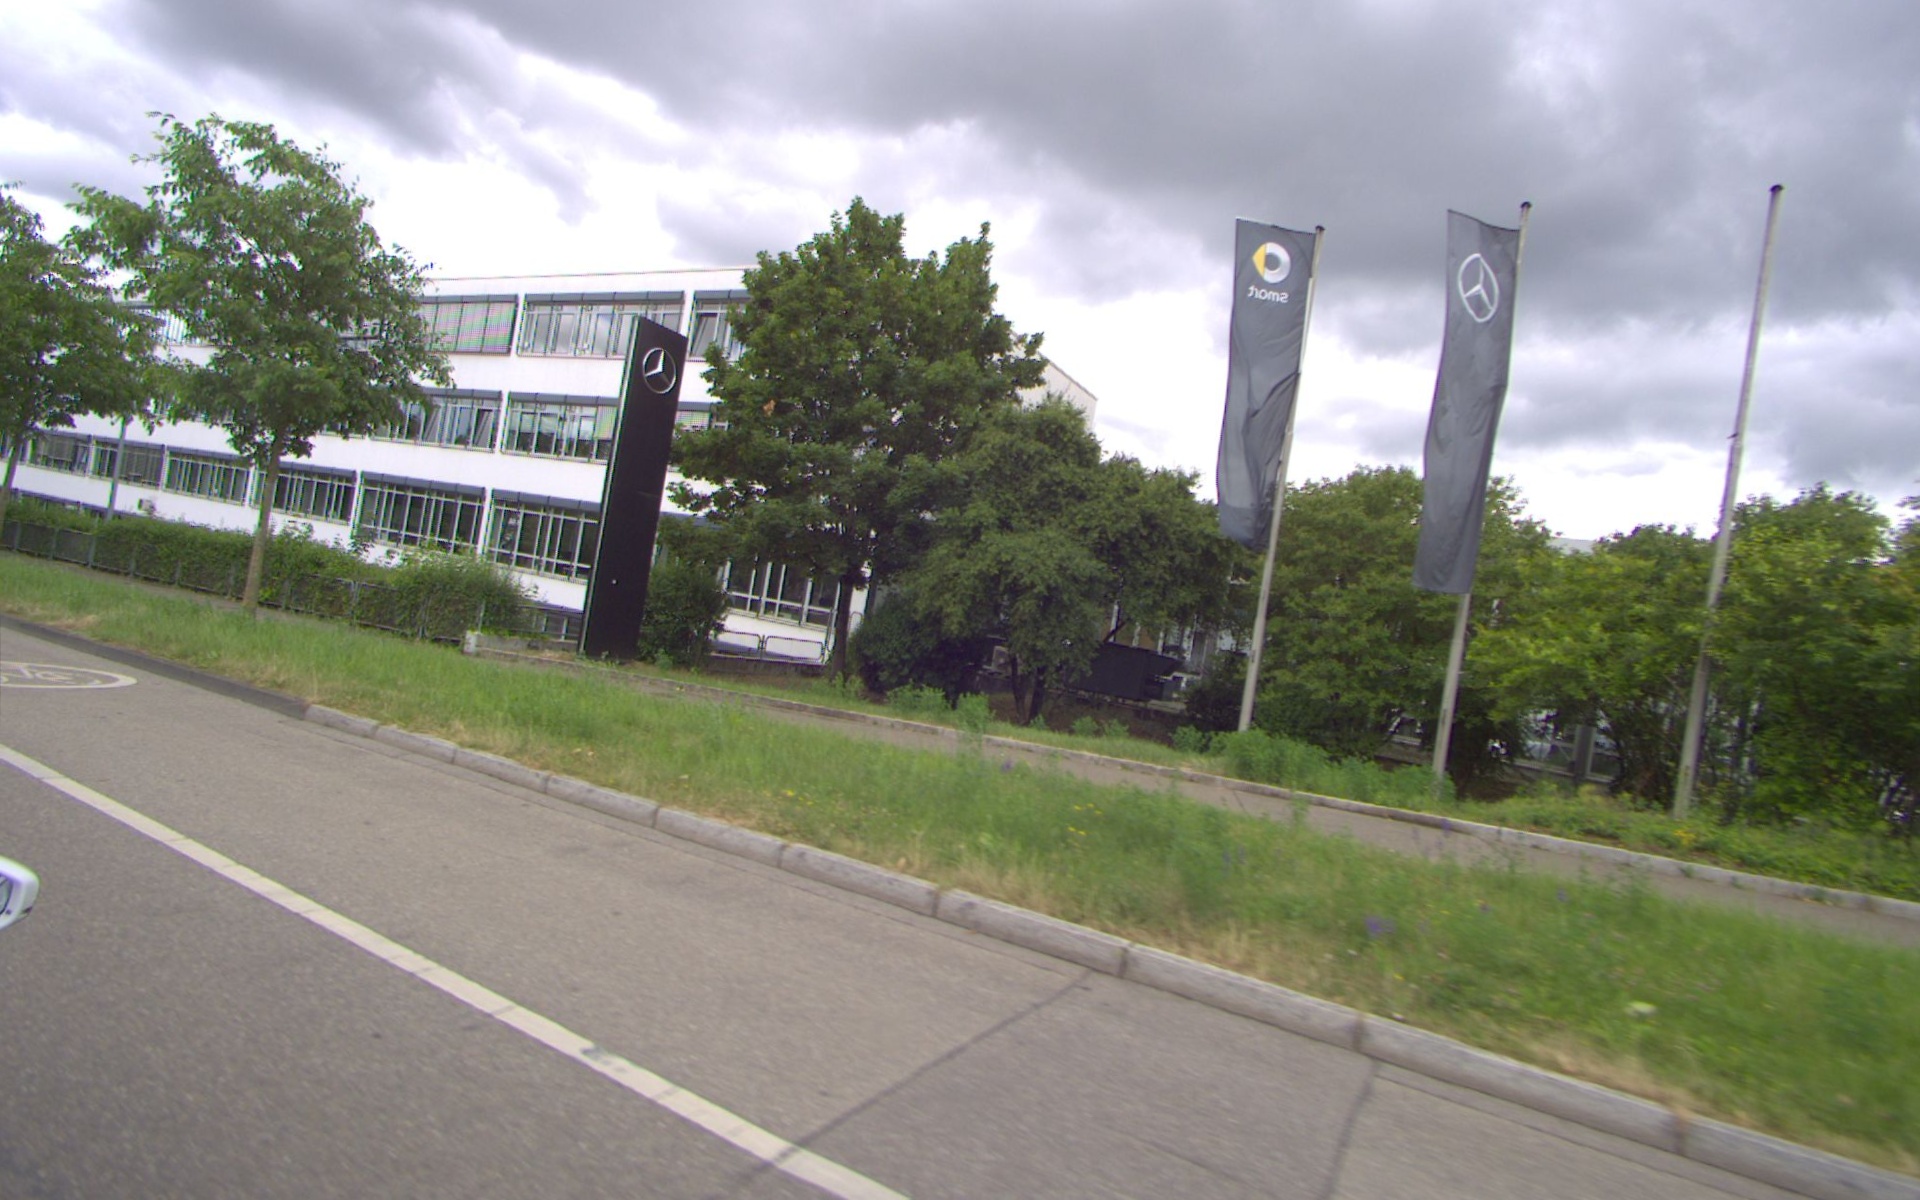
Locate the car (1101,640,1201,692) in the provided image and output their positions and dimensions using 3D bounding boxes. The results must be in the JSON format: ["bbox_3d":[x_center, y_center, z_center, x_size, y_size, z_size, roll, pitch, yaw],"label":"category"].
[{"bbox_3d":[6.917,2.388,36.438,3.027,1.310,1.597,8,-2,33],"label":"car"}]

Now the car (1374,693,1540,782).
[{"bbox_3d":[10.867,2.976,22.073,3.024,1.310,1.599,9,-1,28],"label":"car"}]
